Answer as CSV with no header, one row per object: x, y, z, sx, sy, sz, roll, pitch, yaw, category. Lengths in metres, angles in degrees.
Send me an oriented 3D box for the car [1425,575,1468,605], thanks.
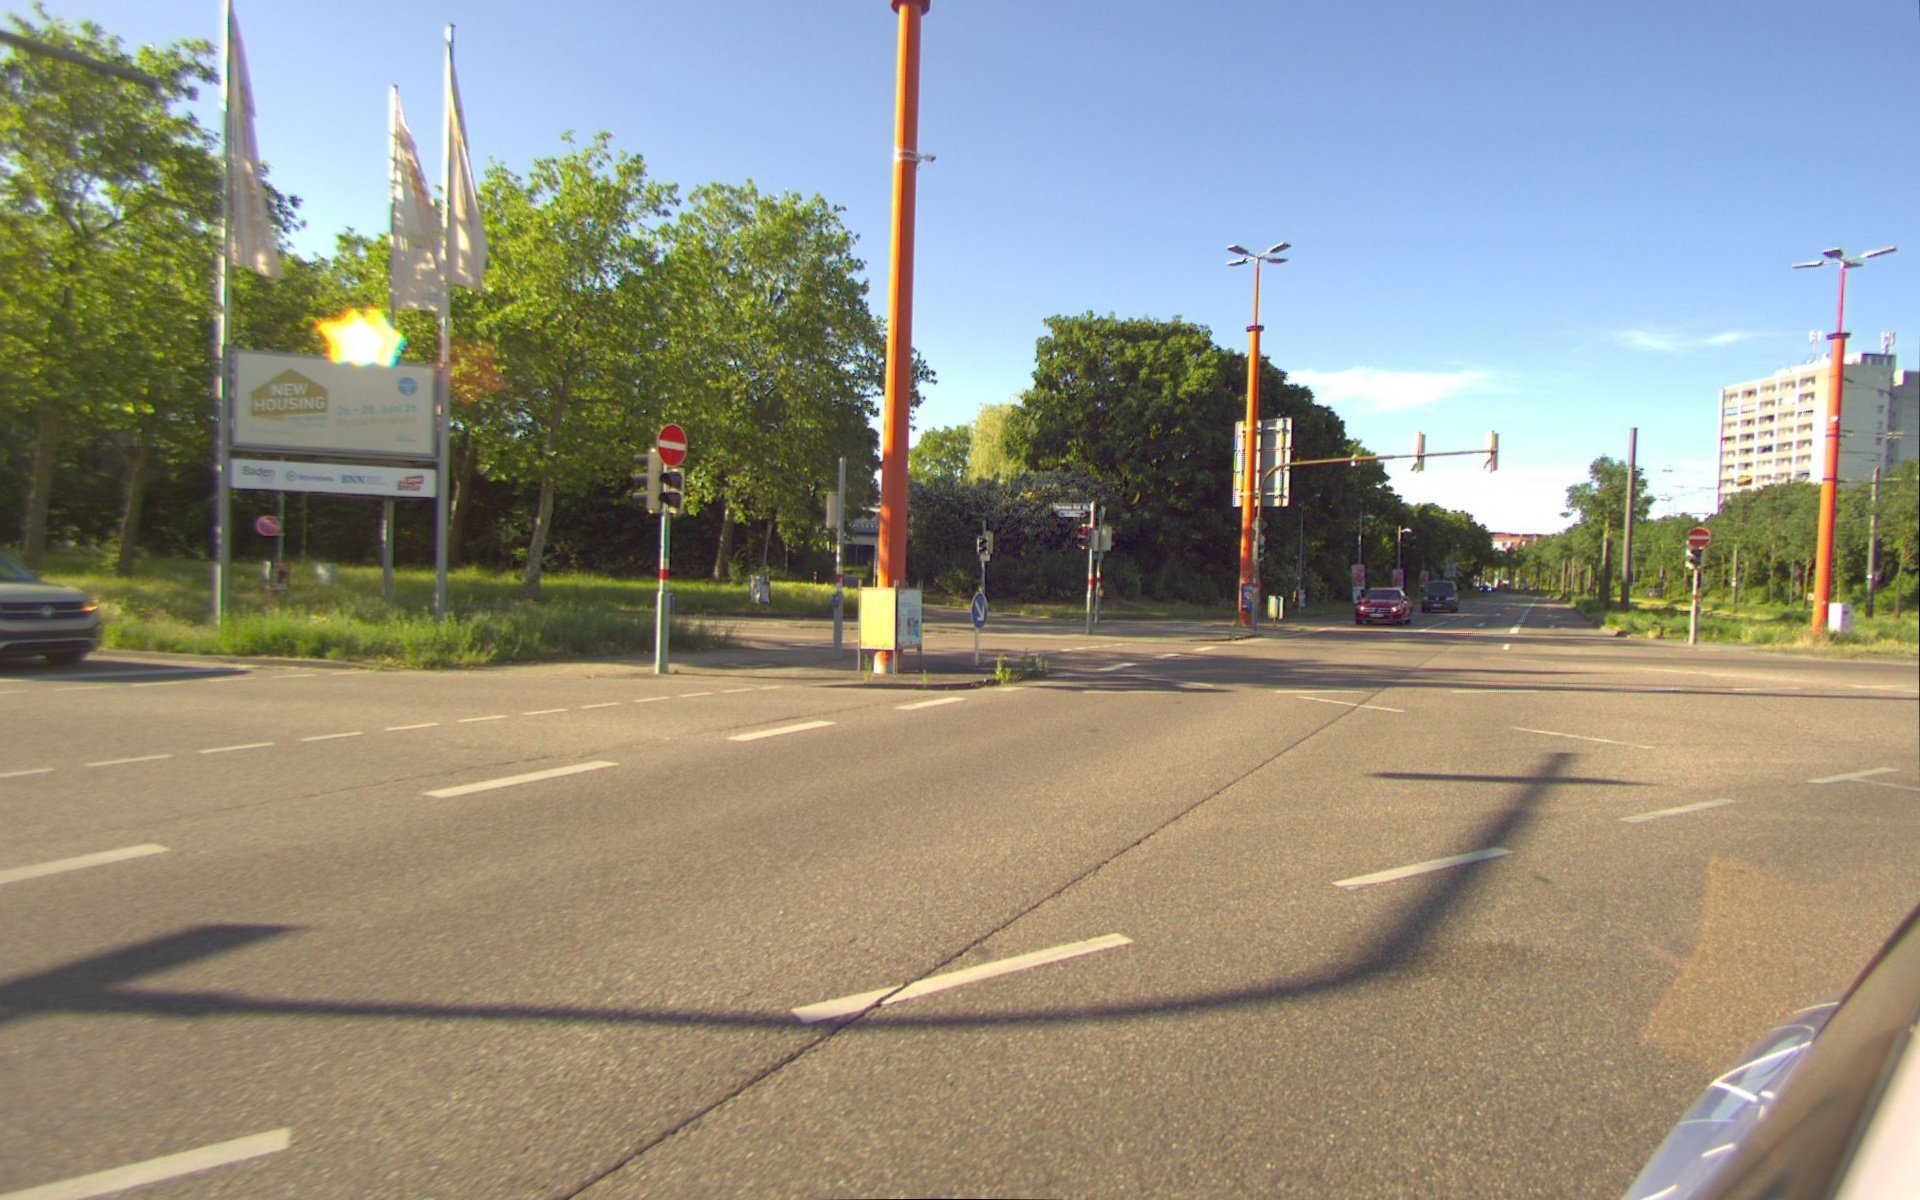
30.373,-0.638,63.122,1.984,1.753,4.767,3,2,30,car

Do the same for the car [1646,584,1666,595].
107.153,-1.620,155.774,1.982,1.725,4.646,2,1,29,car

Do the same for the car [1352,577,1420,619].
17.330,-0.110,41.036,1.984,1.513,4.244,3,2,30,car

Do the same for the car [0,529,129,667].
-12.723,-0.105,12.452,4.029,1.558,1.767,2,1,13,car
